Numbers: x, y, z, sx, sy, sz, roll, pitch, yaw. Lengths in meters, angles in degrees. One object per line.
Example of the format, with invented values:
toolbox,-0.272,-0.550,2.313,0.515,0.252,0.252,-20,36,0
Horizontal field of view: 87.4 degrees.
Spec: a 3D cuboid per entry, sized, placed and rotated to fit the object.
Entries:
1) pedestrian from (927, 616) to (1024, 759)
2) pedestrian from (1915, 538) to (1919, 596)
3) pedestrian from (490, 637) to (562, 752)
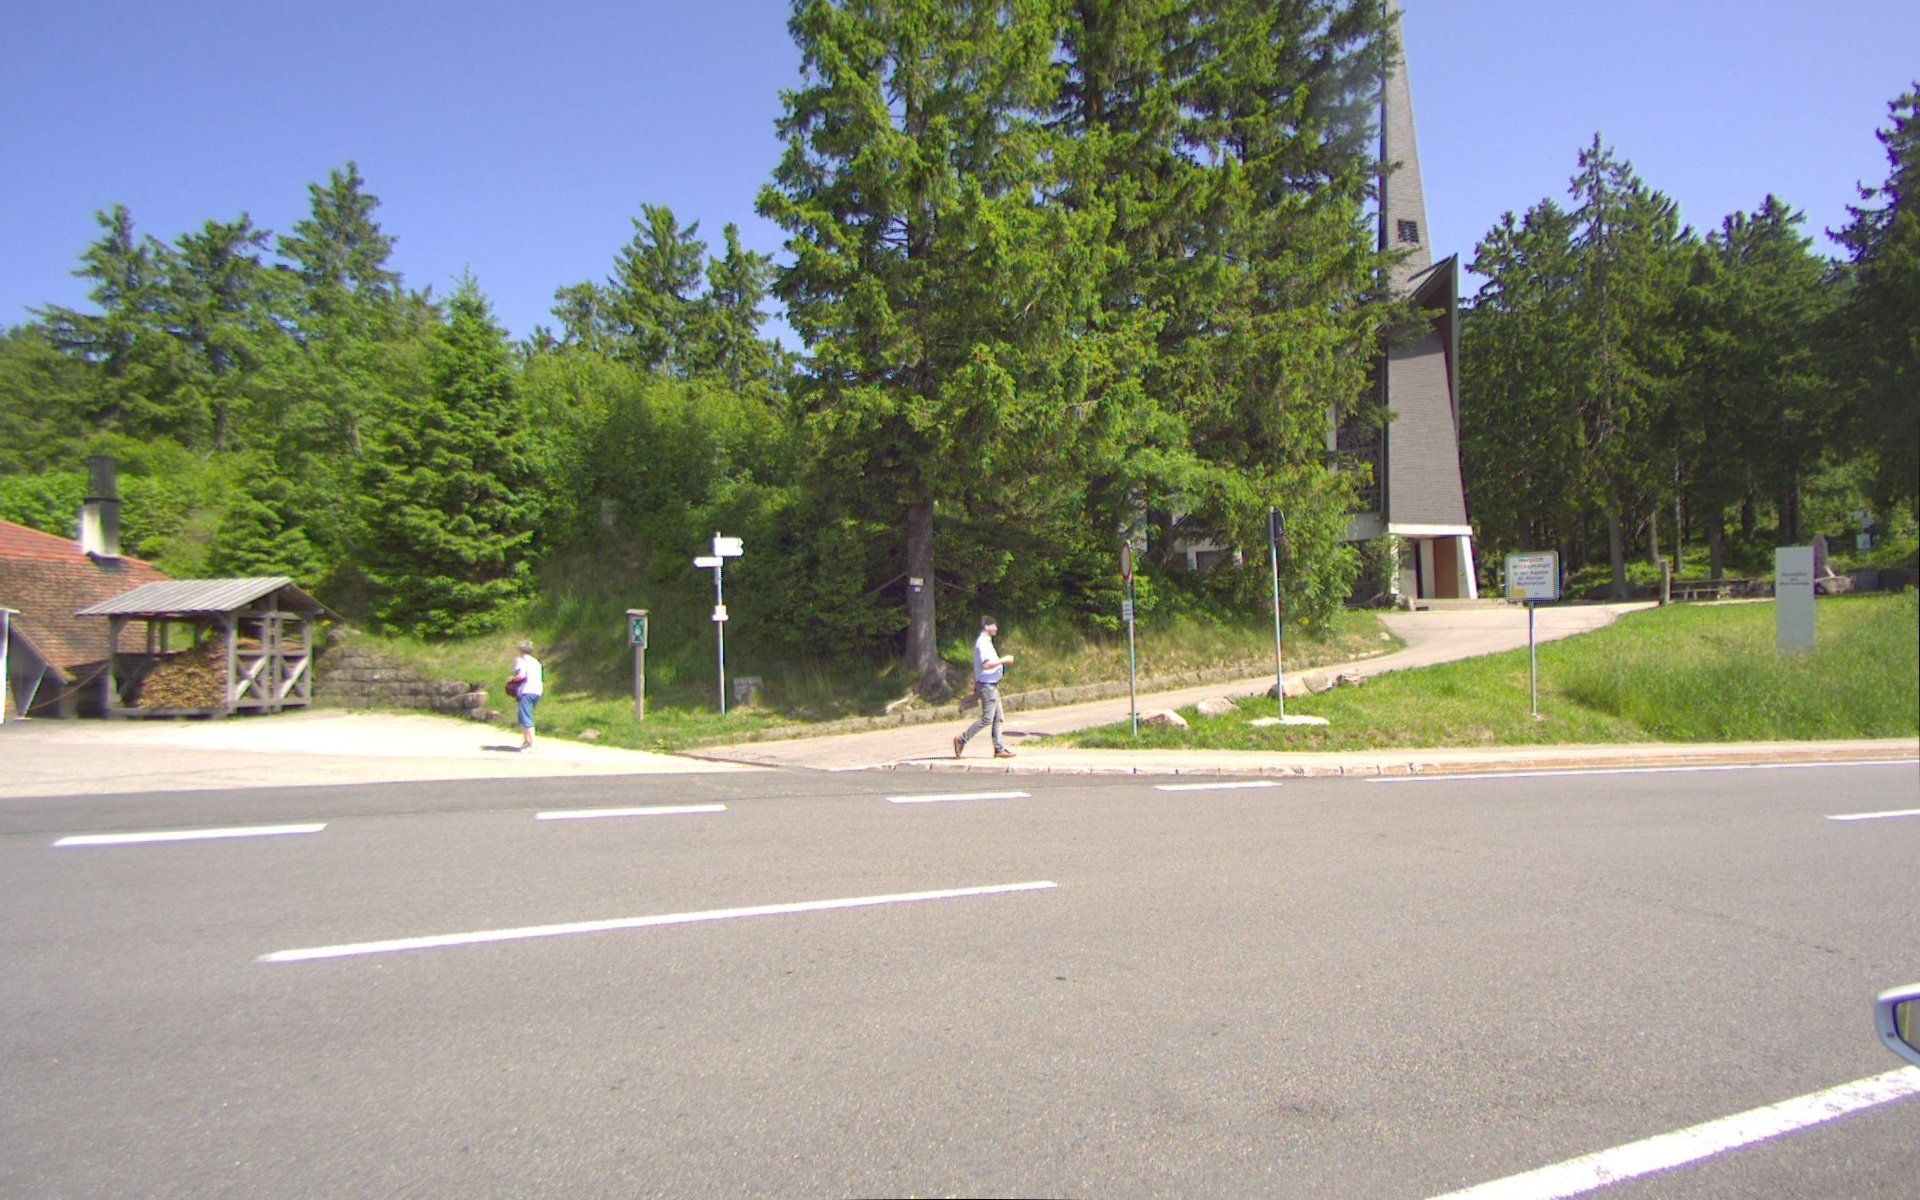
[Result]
pedestrian,0.218,1.079,12.650,1.139,1.720,0.980,0,-3,5
pedestrian,32.028,-1.100,33.137,0.673,1.902,0.538,-2,-4,45
pedestrian,-6.657,1.433,15.439,0.669,1.703,0.722,0,-3,16
